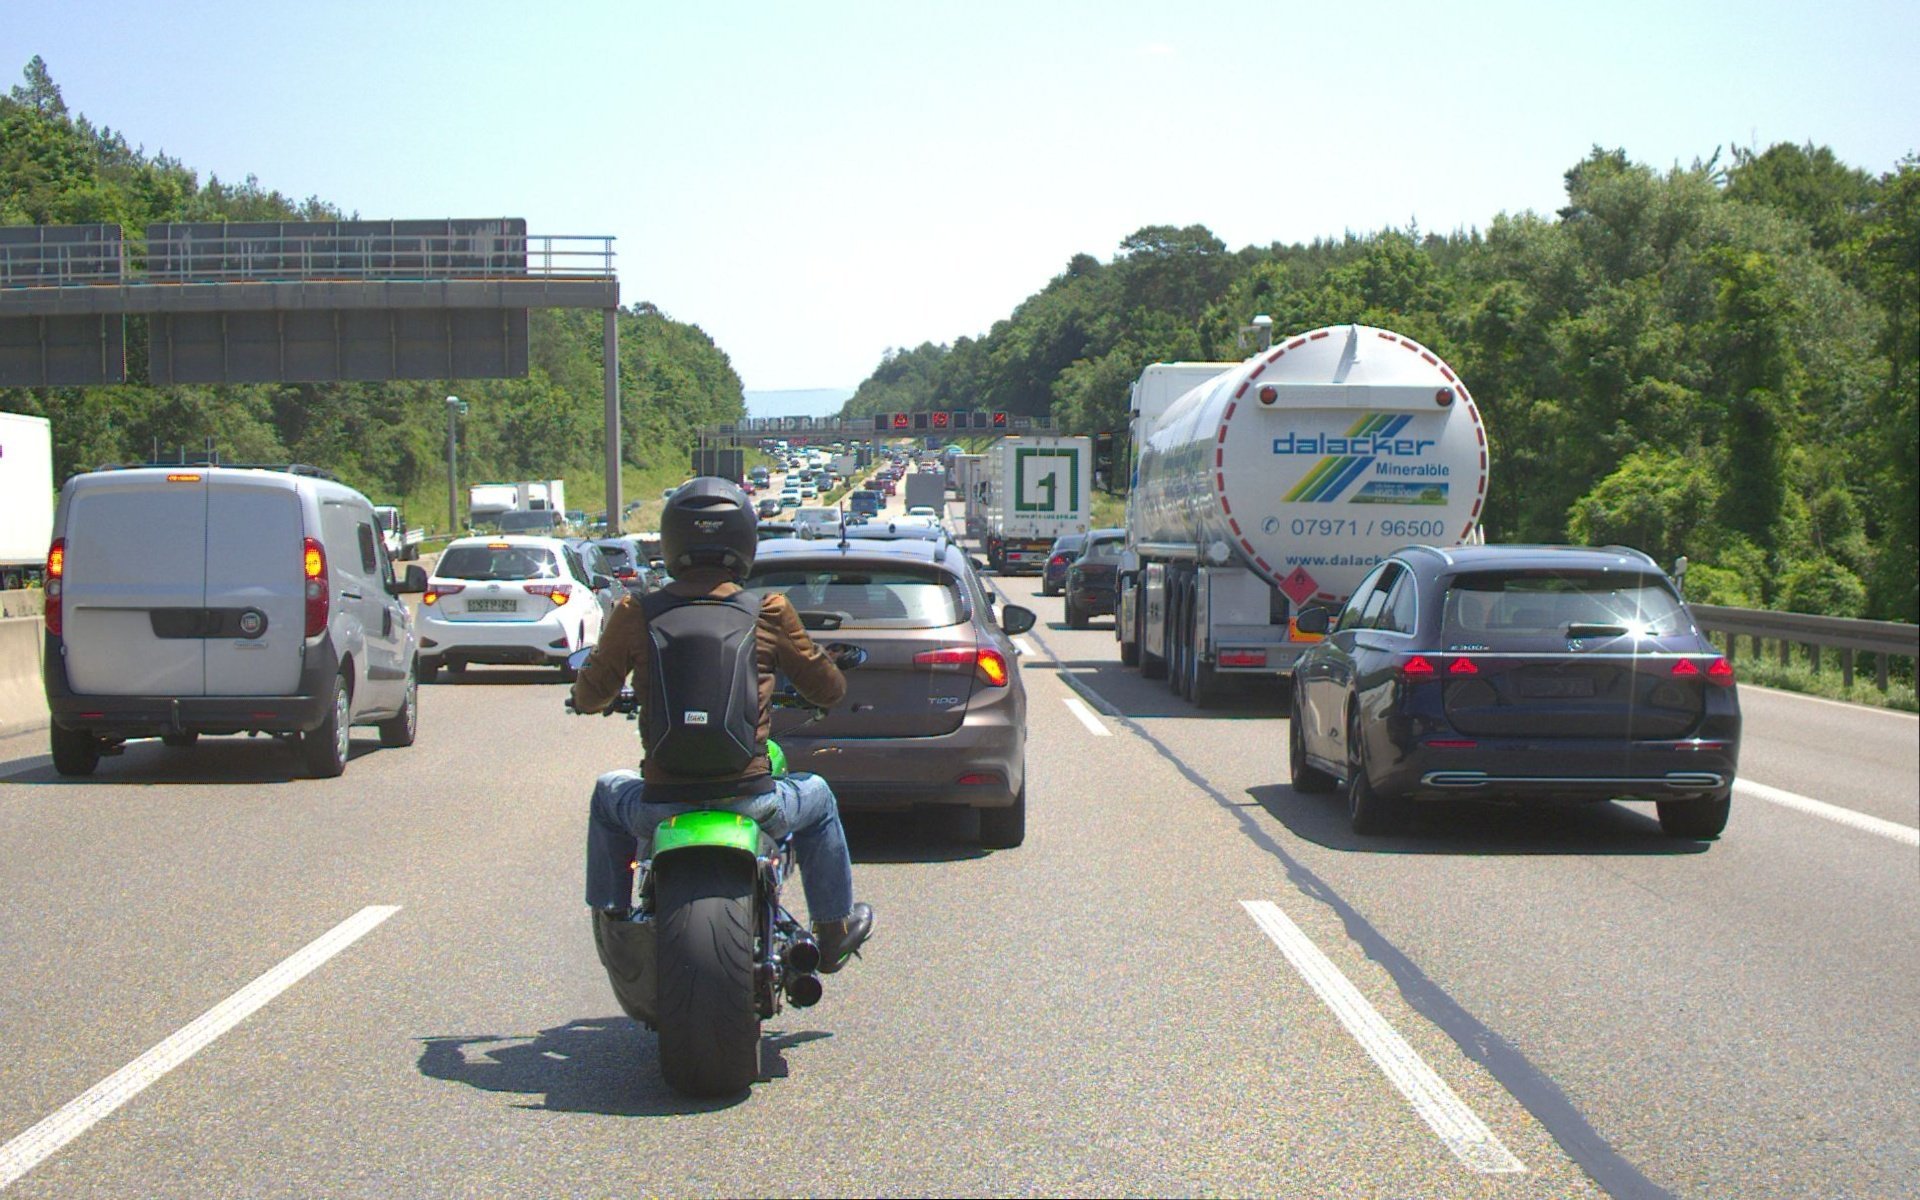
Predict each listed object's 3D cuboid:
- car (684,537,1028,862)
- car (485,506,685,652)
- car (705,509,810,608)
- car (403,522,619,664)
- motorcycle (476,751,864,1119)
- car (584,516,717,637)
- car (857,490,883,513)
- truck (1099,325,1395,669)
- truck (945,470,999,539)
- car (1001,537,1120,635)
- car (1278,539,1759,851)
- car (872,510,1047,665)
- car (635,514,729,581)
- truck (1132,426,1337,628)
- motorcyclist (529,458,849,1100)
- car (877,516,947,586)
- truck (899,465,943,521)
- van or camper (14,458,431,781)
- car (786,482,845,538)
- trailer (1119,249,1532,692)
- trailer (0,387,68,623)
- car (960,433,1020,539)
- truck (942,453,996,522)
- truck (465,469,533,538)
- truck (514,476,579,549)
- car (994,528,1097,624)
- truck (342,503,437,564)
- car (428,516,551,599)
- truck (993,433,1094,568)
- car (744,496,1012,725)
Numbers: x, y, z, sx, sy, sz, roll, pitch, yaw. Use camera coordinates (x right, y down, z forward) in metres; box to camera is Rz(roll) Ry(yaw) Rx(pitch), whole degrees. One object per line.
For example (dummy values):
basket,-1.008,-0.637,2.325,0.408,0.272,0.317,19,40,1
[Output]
car,-0.486,0.415,17.544,1.541,1.445,4.000,1,1,0
car,-4.546,-0.256,42.250,1.993,1.678,4.330,1,0,0
car,-4.267,-0.866,72.846,1.993,2.007,4.000,1,0,0
car,-4.690,-0.080,36.406,1.776,1.406,4.000,1,0,0
motorcycle,-0.773,0.906,9.927,0.936,0.790,2.299,1,1,0
car,-5.358,-0.403,59.892,1.993,2.007,4.000,1,0,-1
car,-6.413,-7.015,244.853,1.770,1.550,4.000,0,1,0
truck,3.216,-1.122,40.133,2.828,3.658,6.430,1,0,0
truck,0.391,-3.030,109.932,1.591,2.104,3.751,1,0,2
car,1.607,-0.225,56.131,1.776,1.522,4.000,1,0,0
car,2.850,0.437,18.537,1.792,1.453,4.624,1,0,0
car,-0.048,-0.150,41.644,1.993,1.769,4.000,1,0,-1
car,-6.213,-1.161,77.037,1.764,1.437,4.000,1,0,0
truck,4.274,-1.168,54.983,2.388,2.969,8.253,0,1,-1
motorcyclist,-0.730,0.470,9.558,0.799,1.682,1.016,1,0,0
car,-1.415,-1.462,101.667,1.993,2.007,4.000,0,1,-1
truck,-2.437,-6.724,218.025,2.696,3.393,10.479,0,1,0
van or camper,-4.679,0.052,22.462,1.853,1.874,4.562,1,2,-2
car,-5.273,-3.271,125.955,1.993,2.007,4.000,0,1,0
trailer,3.297,-1.107,34.044,2.828,3.658,10.733,1,0,0
trailer,-19.639,-1.807,64.687,2.949,4.466,10.817,1,0,-1
car,1.123,-4.371,134.067,2.167,3.879,9.330,1,0,0
truck,0.427,-5.792,179.146,2.696,3.393,10.479,0,1,0
truck,-20.241,-4.221,151.319,2.177,2.875,6.743,1,0,-1
truck,-23.349,-4.907,194.383,2.692,3.976,7.990,1,0,0
car,1.833,-0.516,75.035,1.993,2.007,4.000,1,0,-2
truck,-19.637,-2.264,118.604,2.351,2.007,6.493,1,0,-2
car,-8.709,-0.814,63.931,1.824,1.489,4.000,0,1,-1
truck,2.545,-2.906,102.623,2.854,3.808,7.187,1,0,2
car,-0.661,0.069,27.882,1.993,1.705,4.000,1,0,-1
